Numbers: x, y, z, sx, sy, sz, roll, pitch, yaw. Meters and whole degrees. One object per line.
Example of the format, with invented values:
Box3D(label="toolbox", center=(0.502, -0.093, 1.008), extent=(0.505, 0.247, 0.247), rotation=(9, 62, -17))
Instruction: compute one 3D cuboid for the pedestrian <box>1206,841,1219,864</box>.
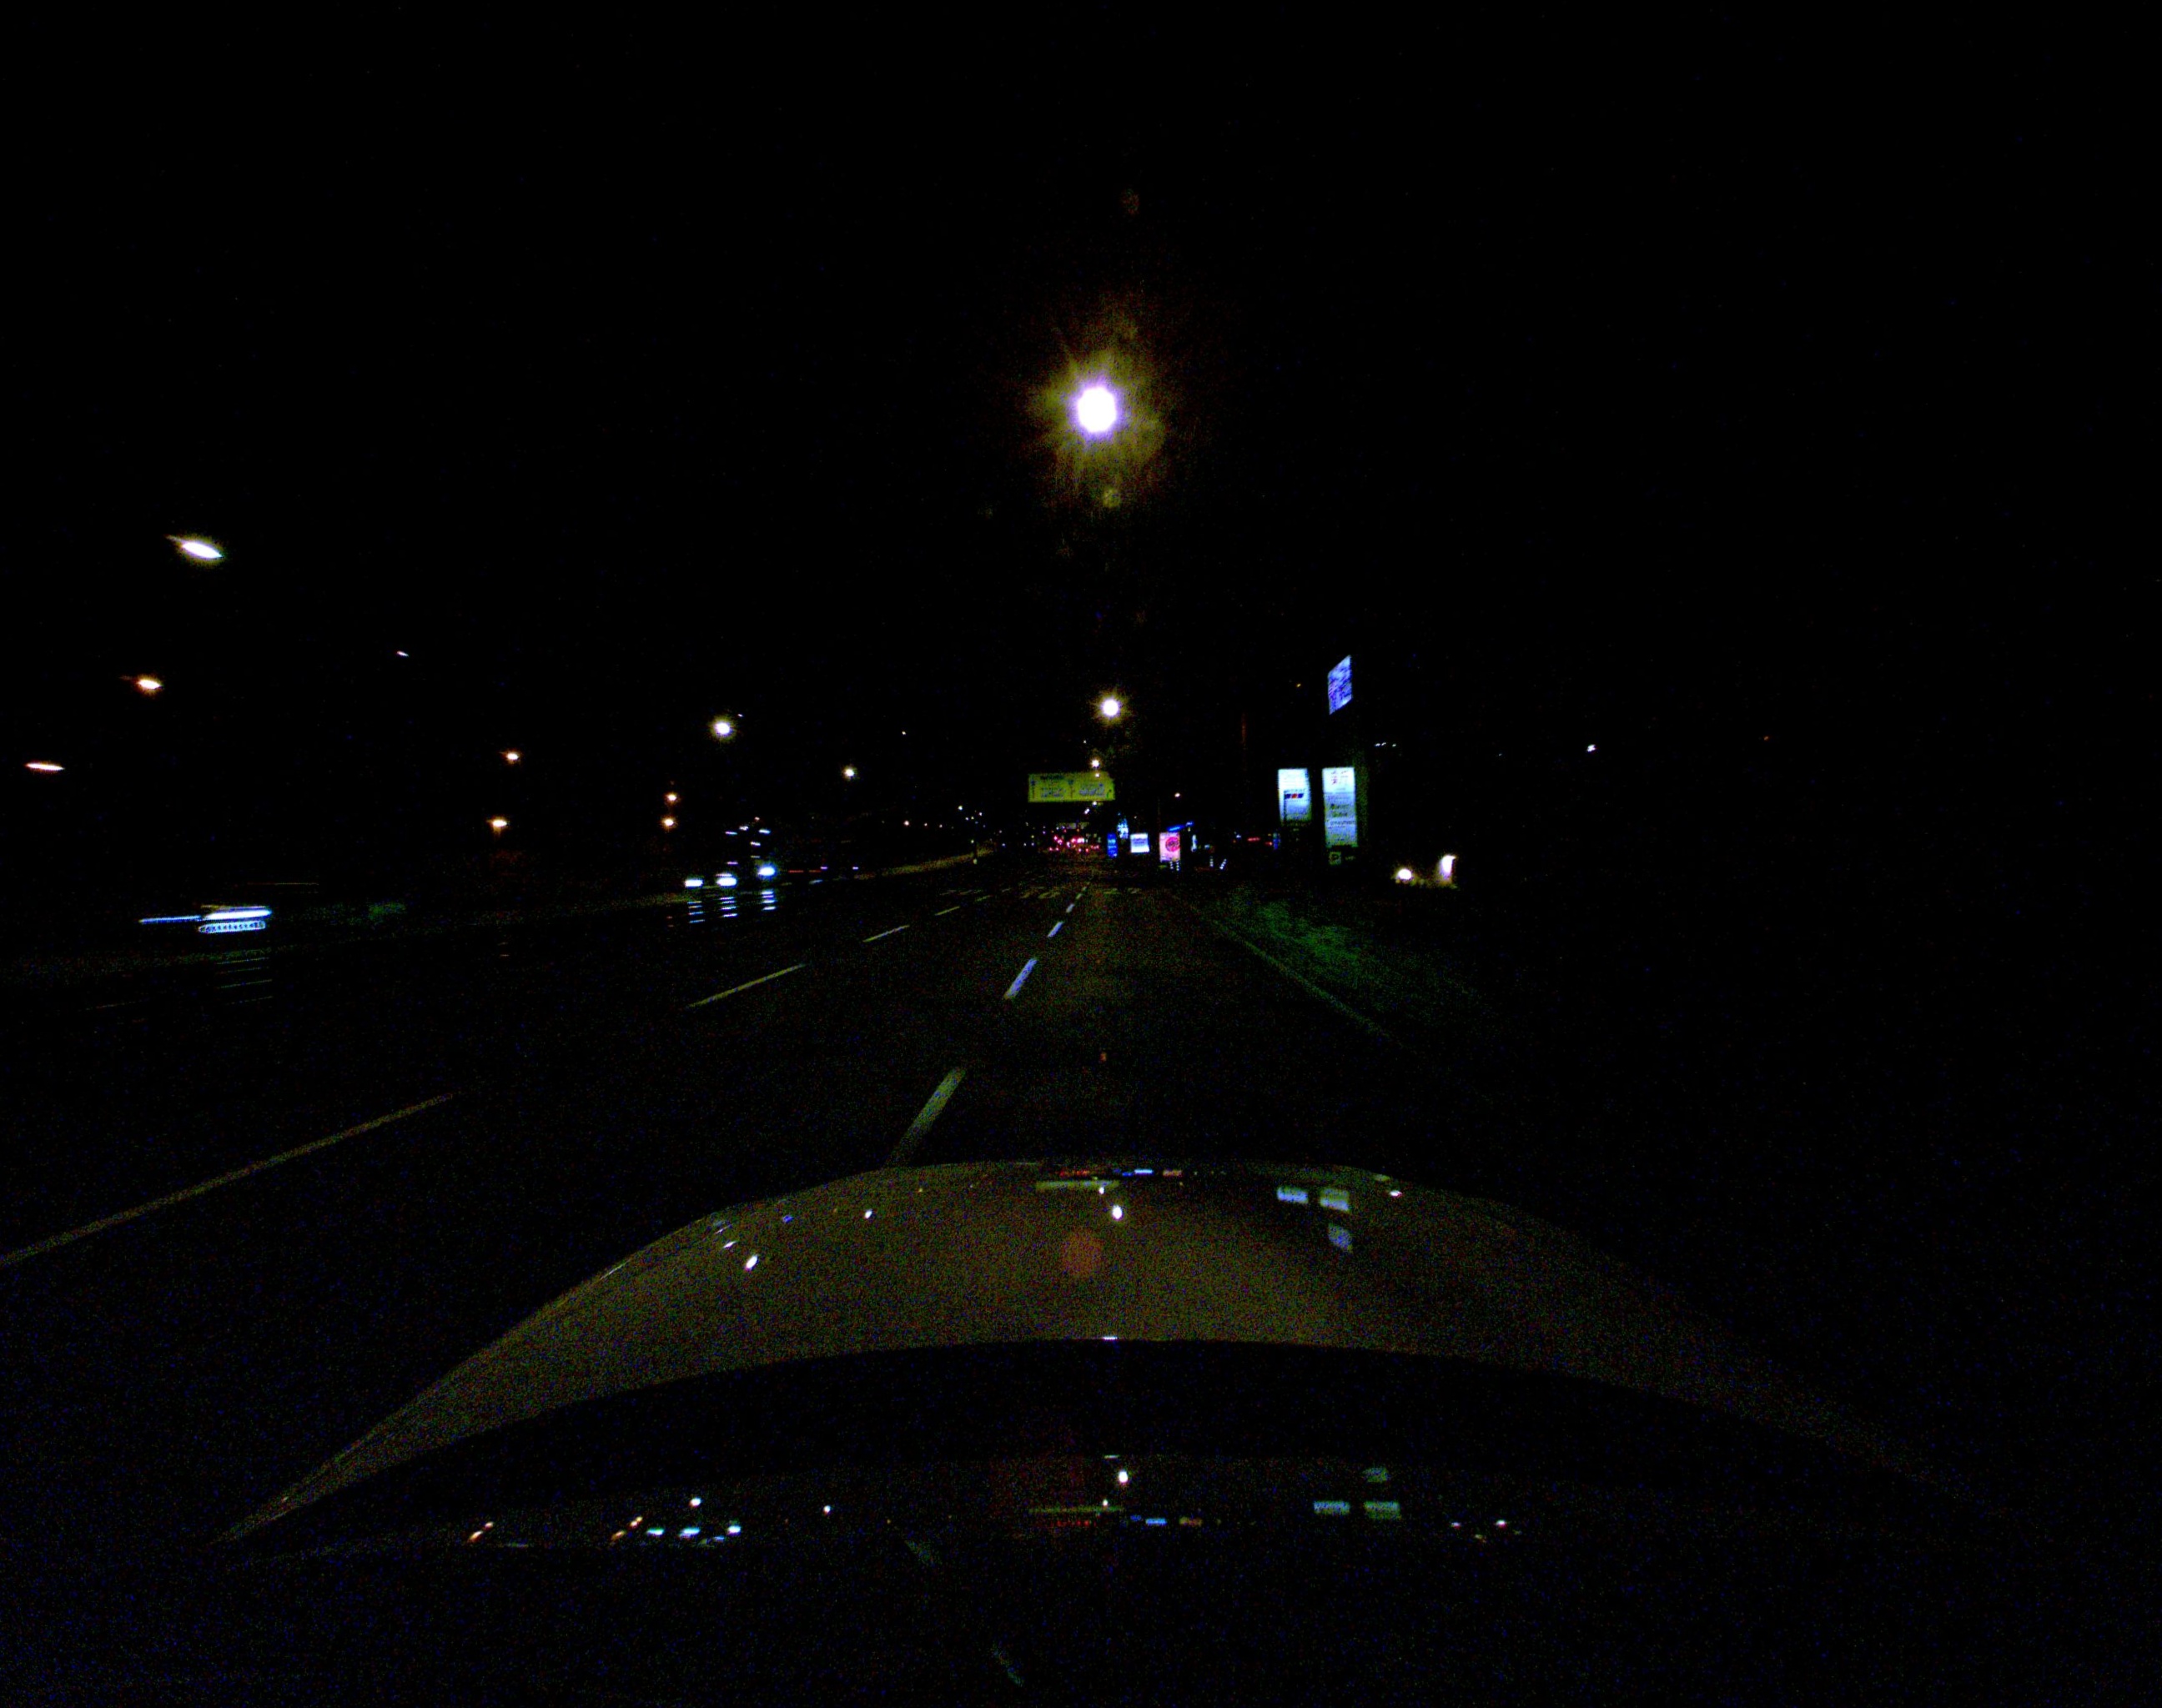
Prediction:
Box3D(label="pedestrian", center=(9.596, -0.112, 59.465), extent=(0.850, 1.707, 0.957), rotation=(1, -1, 0))

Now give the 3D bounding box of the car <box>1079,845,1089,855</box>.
Box3D(label="car", center=(0.587, -0.766, 155.606), extent=(1.961, 1.711, 4.001), rotation=(0, 0, 1))

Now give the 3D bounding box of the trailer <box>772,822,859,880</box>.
Box3D(label="trailer", center=(-19.493, -0.203, 60.491), extent=(3.684, 3.989, 8.393), rotation=(0, 0, 0))

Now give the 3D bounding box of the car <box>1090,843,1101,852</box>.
Box3D(label="car", center=(3.499, -1.590, 193.280), extent=(2.642, 2.014, 5.300), rotation=(0, 0, 1))

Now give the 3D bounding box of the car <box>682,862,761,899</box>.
Box3D(label="car", center=(-16.187, 1.166, 36.860), extent=(1.799, 1.499, 4.082), rotation=(-1, 0, -1))

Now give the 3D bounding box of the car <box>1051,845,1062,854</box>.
Box3D(label="car", center=(-4.914, -0.805, 160.927), extent=(1.961, 1.711, 4.001), rotation=(0, 0, 1))

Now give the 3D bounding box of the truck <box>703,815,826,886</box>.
Box3D(label="truck", center=(-19.409, -0.186, 50.953), extent=(3.670, 3.954, 10.418), rotation=(0, 0, 0))

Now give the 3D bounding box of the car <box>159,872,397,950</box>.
Box3D(label="car", center=(-19.090, 1.282, 19.662), extent=(1.719, 1.625, 3.963), rotation=(0, 0, 2))

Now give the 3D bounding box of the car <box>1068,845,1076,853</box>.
Box3D(label="car", center=(-2.018, -1.182, 192.558), extent=(1.776, 1.711, 4.001), rotation=(0, 0, 1))
